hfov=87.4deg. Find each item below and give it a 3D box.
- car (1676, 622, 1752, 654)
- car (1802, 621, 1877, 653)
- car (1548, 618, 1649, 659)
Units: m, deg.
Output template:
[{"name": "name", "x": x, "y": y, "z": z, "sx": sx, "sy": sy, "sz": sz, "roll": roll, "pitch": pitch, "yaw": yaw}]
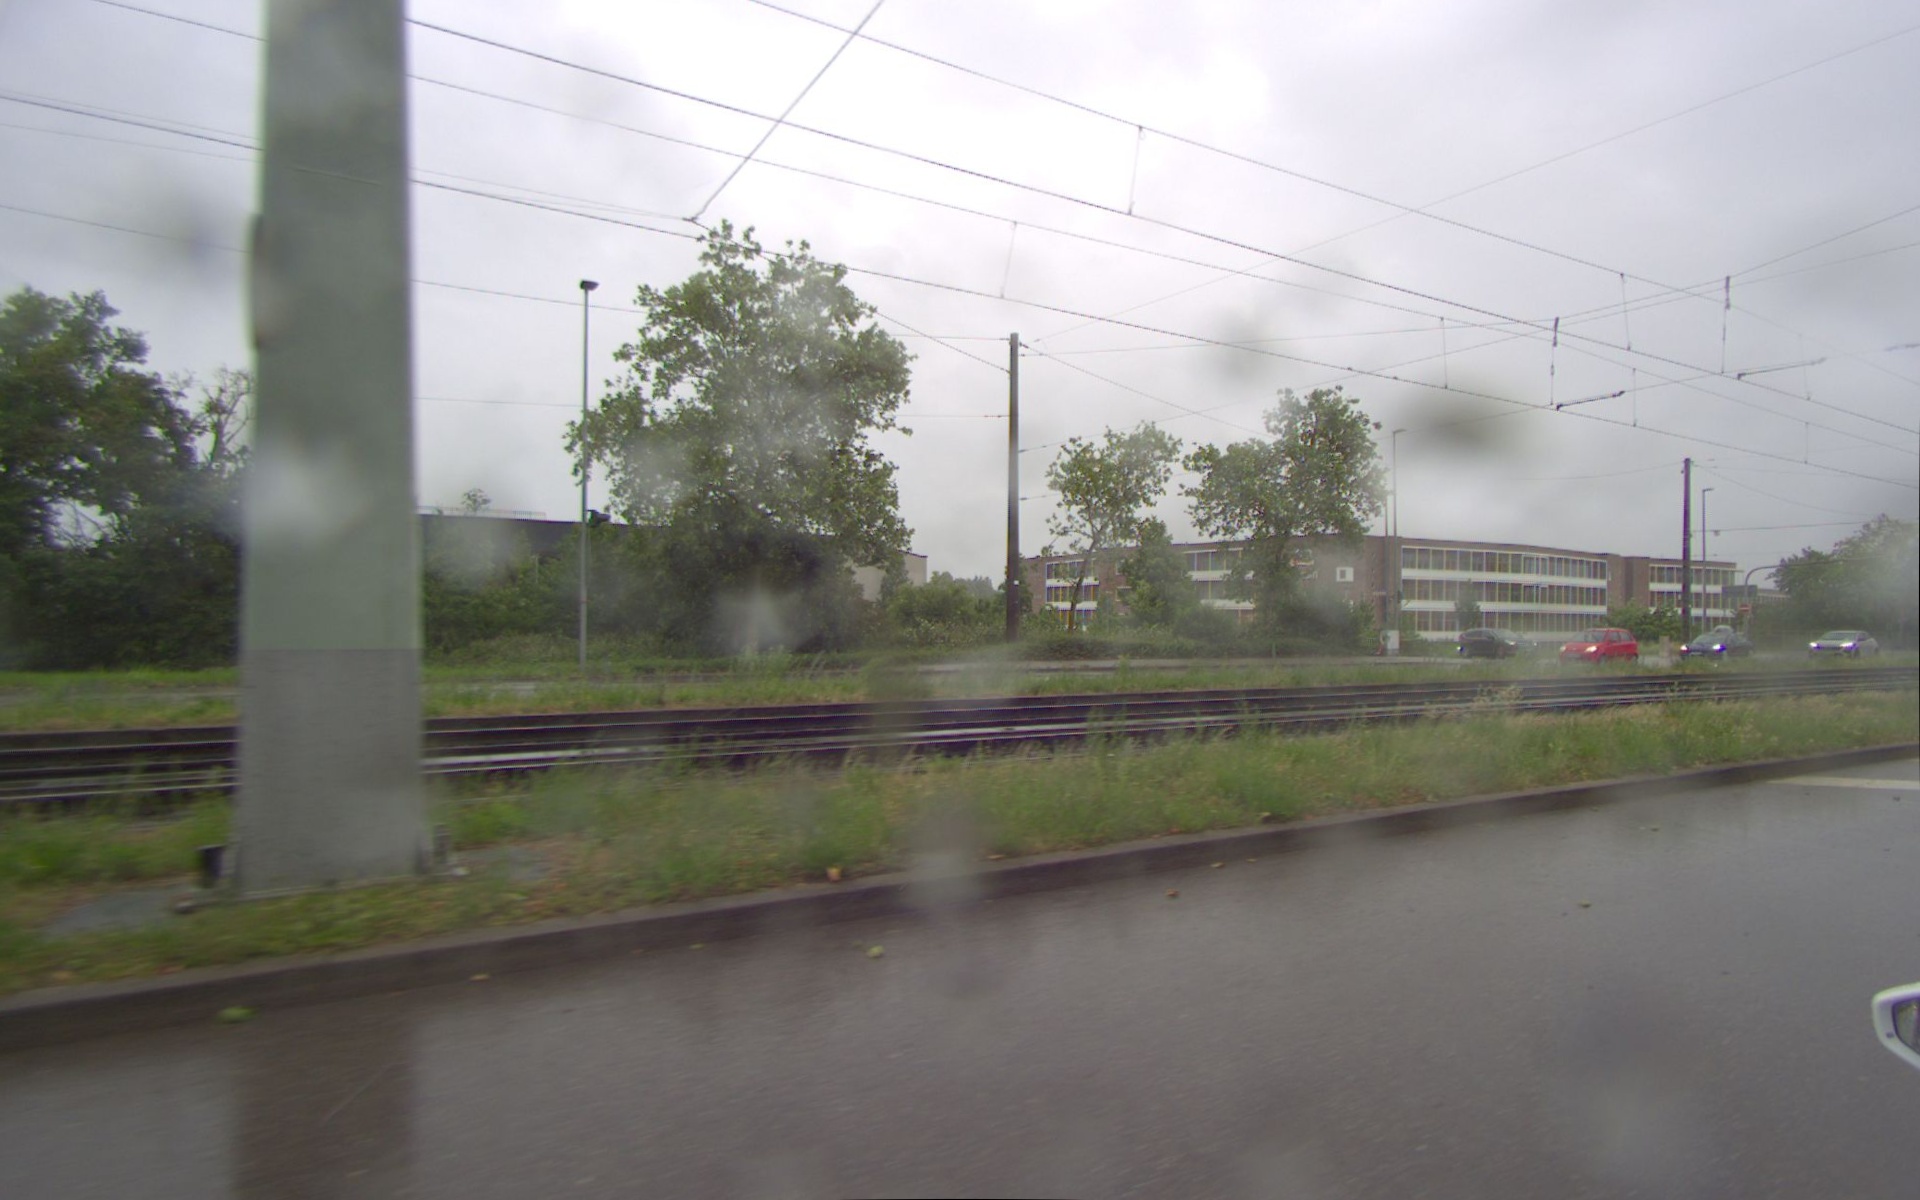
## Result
[{"name": "car", "x": 37.769, "y": 1.879, "z": 50.314, "sx": 3.954, "sy": 1.514, "sz": 1.712, "roll": 1, "pitch": -1, "yaw": -31}, {"name": "car", "x": 44.035, "y": 1.855, "z": 50.254, "sx": 3.954, "sy": 1.514, "sz": 1.712, "roll": 1, "pitch": -1, "yaw": -31}, {"name": "car", "x": 24.629, "y": 1.467, "z": 38.725, "sx": 3.954, "sy": 1.514, "sz": 1.712, "roll": 1, "pitch": -1, "yaw": -31}]
